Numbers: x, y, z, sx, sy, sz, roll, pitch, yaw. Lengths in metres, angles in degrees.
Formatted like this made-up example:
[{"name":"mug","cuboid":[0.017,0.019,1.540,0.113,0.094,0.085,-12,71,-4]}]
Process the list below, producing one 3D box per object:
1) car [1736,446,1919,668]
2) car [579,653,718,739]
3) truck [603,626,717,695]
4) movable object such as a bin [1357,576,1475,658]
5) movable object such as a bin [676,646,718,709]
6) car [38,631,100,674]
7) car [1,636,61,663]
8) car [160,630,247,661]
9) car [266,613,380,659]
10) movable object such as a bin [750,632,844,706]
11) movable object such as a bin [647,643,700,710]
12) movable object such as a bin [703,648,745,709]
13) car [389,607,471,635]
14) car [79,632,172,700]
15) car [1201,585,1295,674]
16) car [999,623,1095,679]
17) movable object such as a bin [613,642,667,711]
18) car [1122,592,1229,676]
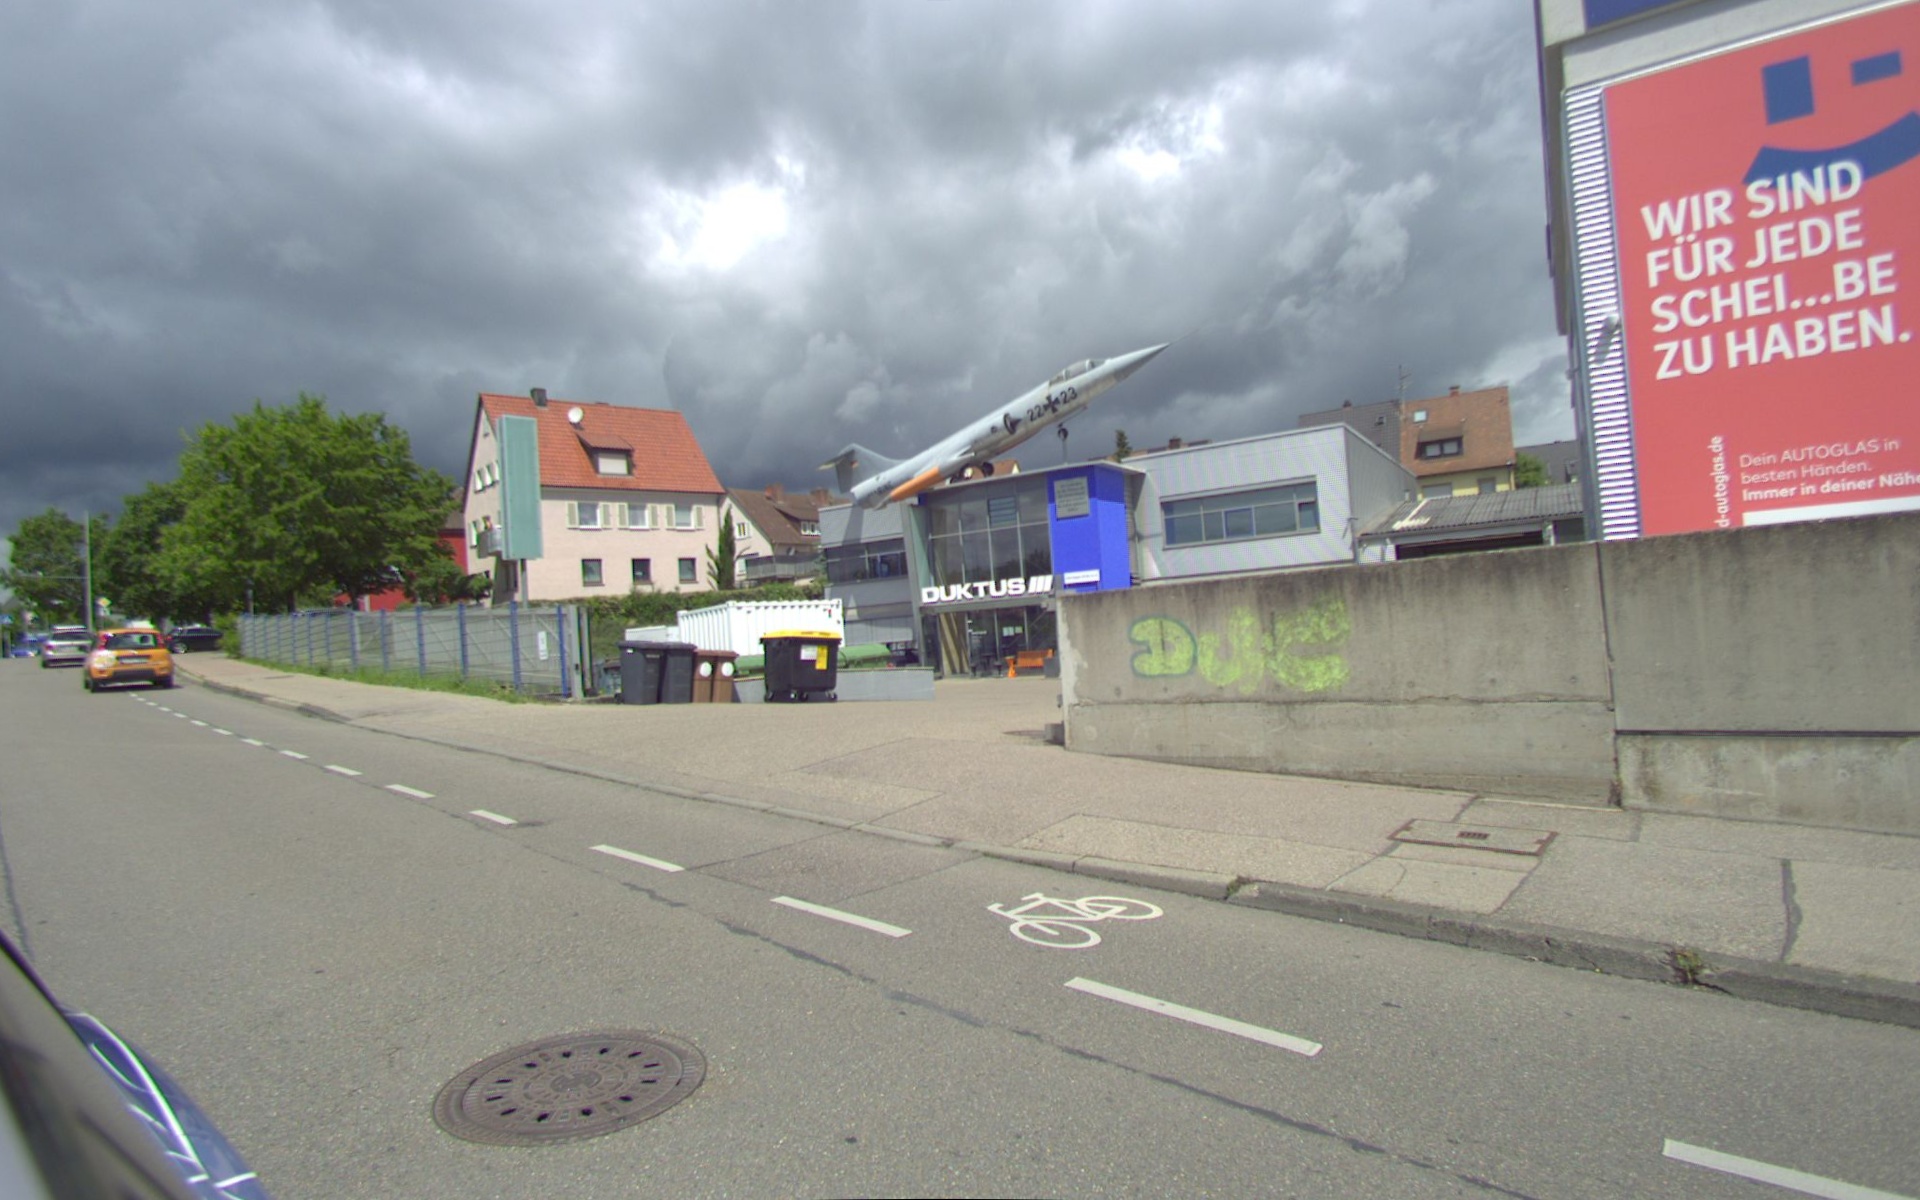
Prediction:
[{"name":"car","cuboid":[8.614,-0.361,7.687,4.099,1.649,1.792,-2,0,32]},{"name":"car","cuboid":[-6.440,1.894,20.745,1.414,1.470,3.366,-1,0,-42]},{"name":"truck","cuboid":[-13.393,2.571,44.880,2.288,2.752,6.603,-1,0,-41]},{"name":"movable object such as a bin","cuboid":[14.609,0.547,32.438,3.135,2.367,1.419,-5,-2,32]},{"name":"movable object such as a bin","cuboid":[-4.567,1.333,17.561,0.498,1.069,0.496,-2,-4,43]},{"name":"car","cuboid":[-35.234,2.037,39.983,1.623,1.544,4.225,-1,0,-44]},{"name":"car","cuboid":[-77.341,4.108,84.354,1.928,1.984,5.148,-1,0,-22]},{"name":"car","cuboid":[-42.464,2.525,56.865,3.799,1.517,1.588,-2,0,-41]},{"name":"car","cuboid":[-27.413,1.498,43.635,1.523,1.789,3.902,-2,0,42]},{"name":"movable object such as a bin","cuboid":[-3.031,1.265,18.804,1.232,1.316,1.207,-2,-4,42]},{"name":"movable object such as a bin","cuboid":[-4.829,1.283,17.061,0.517,1.089,0.655,-2,-4,43]},{"name":"movable object such as a bin","cuboid":[-4.168,1.371,17.875,0.517,1.053,0.509,-2,-4,43]},{"name":"car","cuboid":[-31.065,1.216,59.373,3.958,1.517,1.588,-2,0,-41]},{"name":"car","cuboid":[-21.255,1.615,25.737,1.582,1.502,3.685,-1,0,-43]},{"name":"car","cuboid":[9.624,0.909,33.566,1.982,2.620,4.580,-6,-2,26]},{"name":"car","cuboid":[3.458,1.945,39.492,1.852,1.790,4.574,-6,-2,30]},{"name":"movable object such as a bin","cuboid":[-5.261,1.248,16.644,0.517,1.089,0.655,-2,-4,43]},{"name":"car","cuboid":[7.753,1.151,36.025,1.987,2.620,4.679,-7,-2,33]}]
